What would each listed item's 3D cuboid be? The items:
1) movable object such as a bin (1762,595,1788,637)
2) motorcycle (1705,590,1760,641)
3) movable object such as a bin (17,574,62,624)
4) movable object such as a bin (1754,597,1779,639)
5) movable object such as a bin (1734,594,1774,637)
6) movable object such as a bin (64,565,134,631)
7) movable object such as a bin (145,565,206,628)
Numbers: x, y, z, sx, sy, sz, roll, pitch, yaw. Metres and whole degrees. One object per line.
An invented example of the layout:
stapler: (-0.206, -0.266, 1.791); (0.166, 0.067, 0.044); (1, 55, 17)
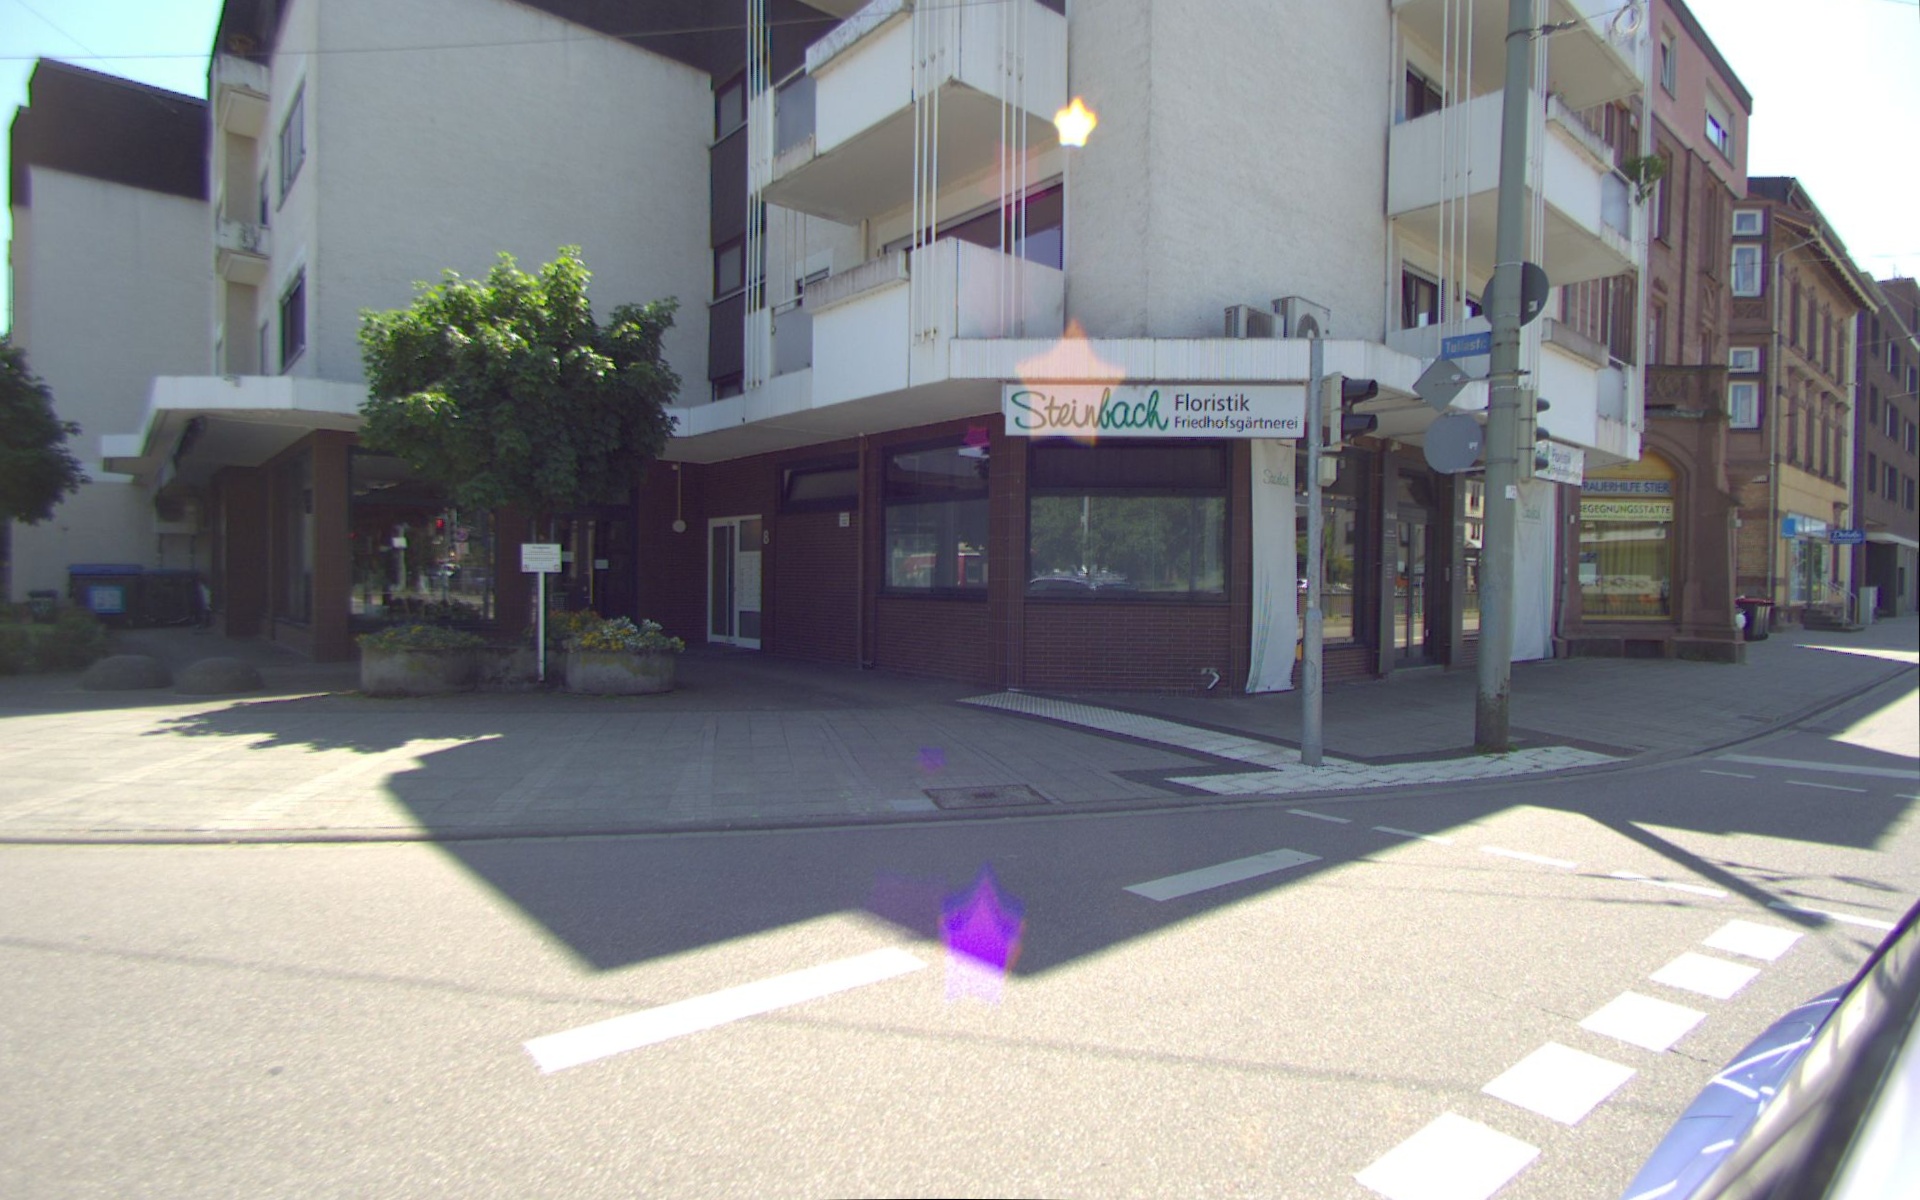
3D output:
movable object such as a bin: (21.433, 0.407, 26.623); (0.646, 1.061, 0.376); (0, 3, -41)
motorcycle: (18.149, 0.344, 23.757); (1.845, 1.163, 0.528); (0, 1, -37)
movable object such as a bin: (-20.126, -0.033, 22.136); (0.701, 1.060, 0.743); (0, 1, -42)
movable object such as a bin: (20.918, 0.464, 26.245); (0.549, 1.061, 0.376); (0, 3, -41)
movable object such as a bin: (20.391, 0.384, 25.992); (0.549, 1.061, 0.649); (0, 3, -41)
movable object such as a bin: (-19.309, -0.058, 22.708); (1.174, 1.424, 1.058); (0, 1, -42)
movable object such as a bin: (-18.212, -0.092, 23.479); (1.045, 1.424, 1.320); (0, 1, -42)
